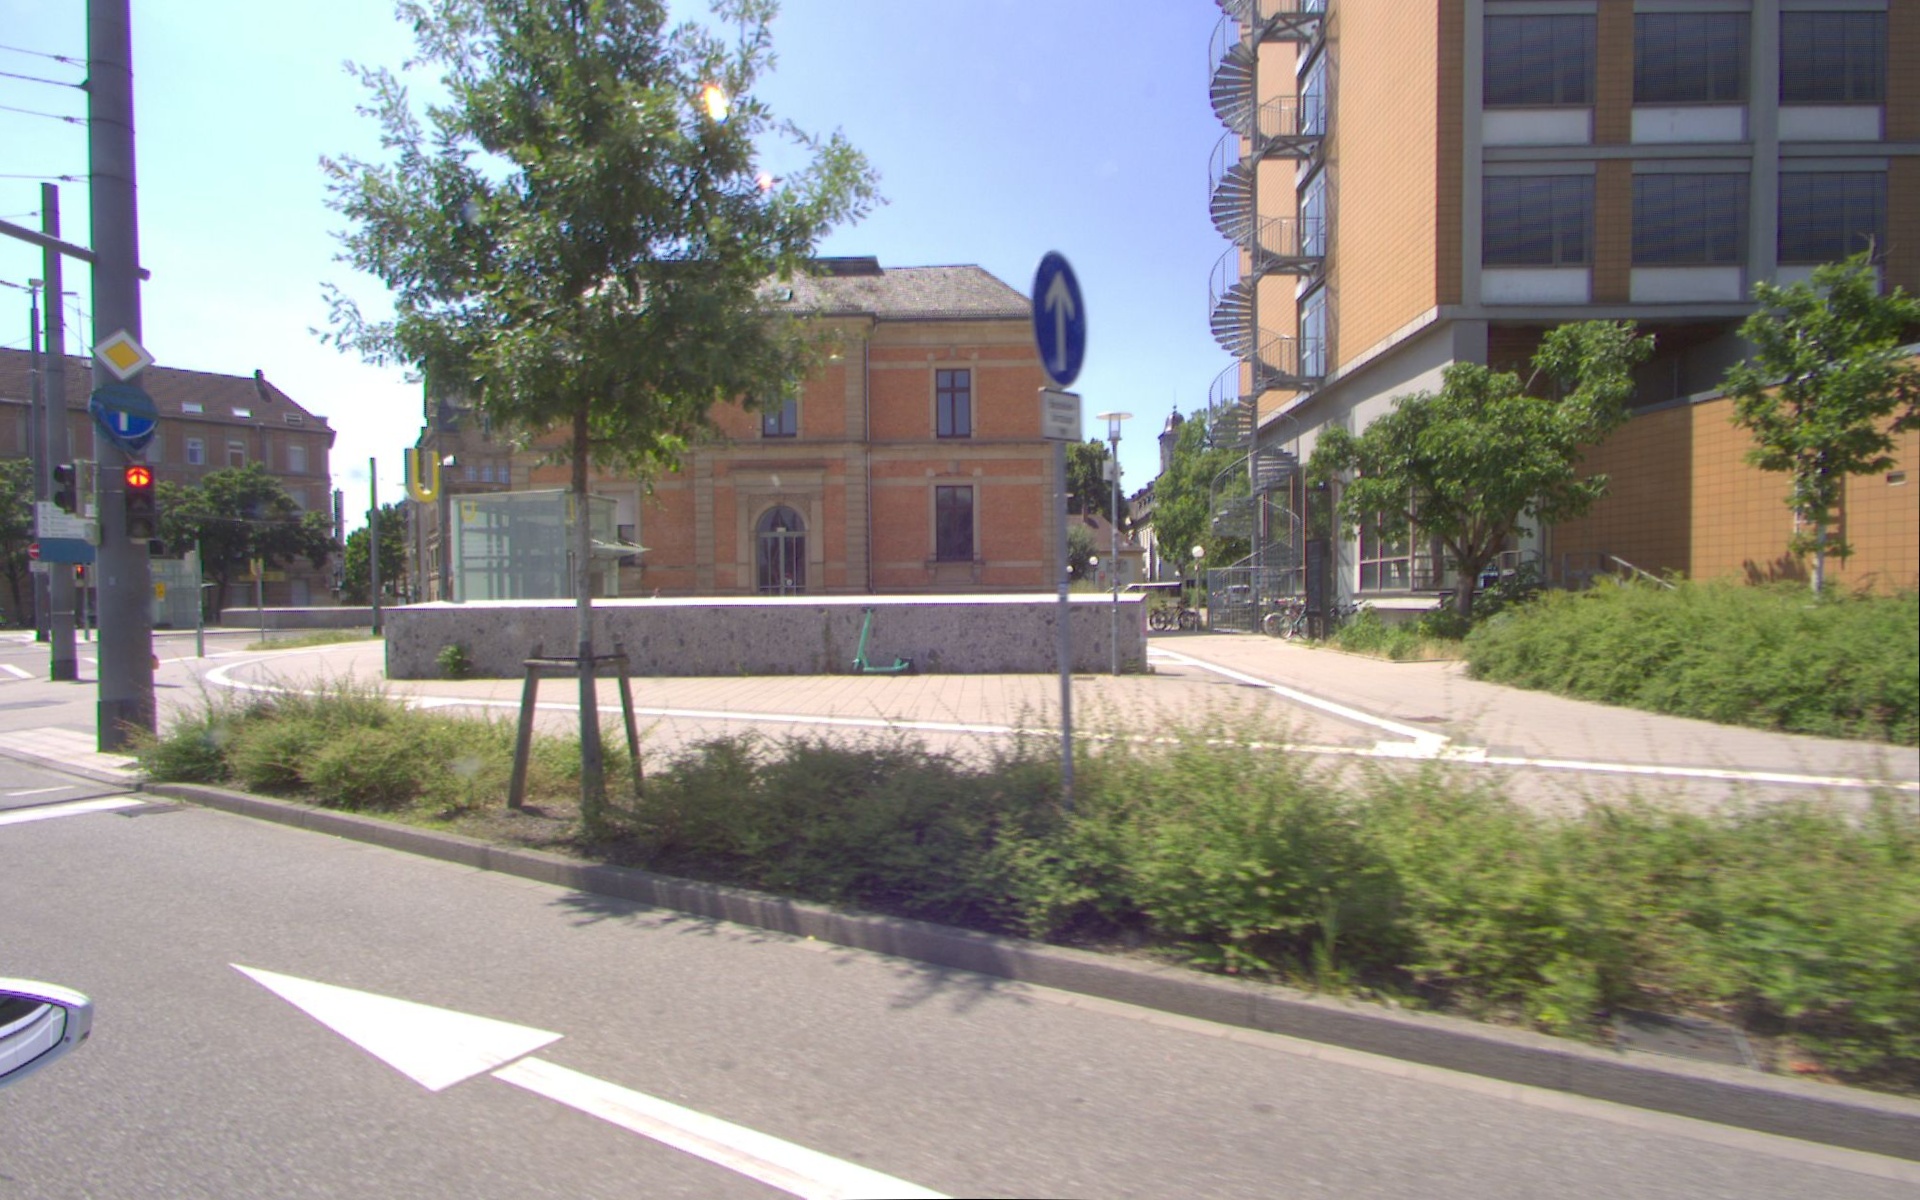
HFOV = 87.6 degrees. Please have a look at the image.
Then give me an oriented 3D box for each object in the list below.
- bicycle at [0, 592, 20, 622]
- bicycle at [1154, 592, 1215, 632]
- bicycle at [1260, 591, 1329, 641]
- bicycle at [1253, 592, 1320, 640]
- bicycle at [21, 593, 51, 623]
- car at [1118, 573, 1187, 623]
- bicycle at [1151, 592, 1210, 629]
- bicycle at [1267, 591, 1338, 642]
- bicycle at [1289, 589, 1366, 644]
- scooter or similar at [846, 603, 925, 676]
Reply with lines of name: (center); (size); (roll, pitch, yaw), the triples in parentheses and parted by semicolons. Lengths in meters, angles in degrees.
bicycle: (-59.653, 0.427, 62.571); (3.134, 1.812, 0.611); (2, 1, 32)
bicycle: (8.216, 0.433, 36.758); (2.068, 1.379, 0.767); (2, 1, 5)
bicycle: (9.610, 0.455, 28.804); (1.780, 1.347, 0.497); (2, 1, 2)
bicycle: (9.679, 0.473, 29.718); (1.780, 1.347, 0.497); (2, 1, 2)
bicycle: (-58.837, 0.523, 63.748); (3.134, 1.812, 0.611); (2, 1, 32)
car: (10.779, -0.107, 56.184); (3.658, 2.680, 1.166); (2, 1, 7)
bicycle: (8.295, 0.395, 37.782); (2.037, 1.320, 0.767); (2, 1, 5)
bicycle: (9.625, 0.459, 28.182); (1.780, 1.347, 0.497); (2, 1, 2)
bicycle: (9.593, 0.426, 26.191); (1.780, 1.347, 0.497); (2, 1, 2)
scooter or similar: (-1.267, 0.668, 17.050); (1.265, 1.183, 0.397); (2, 1, 10)
